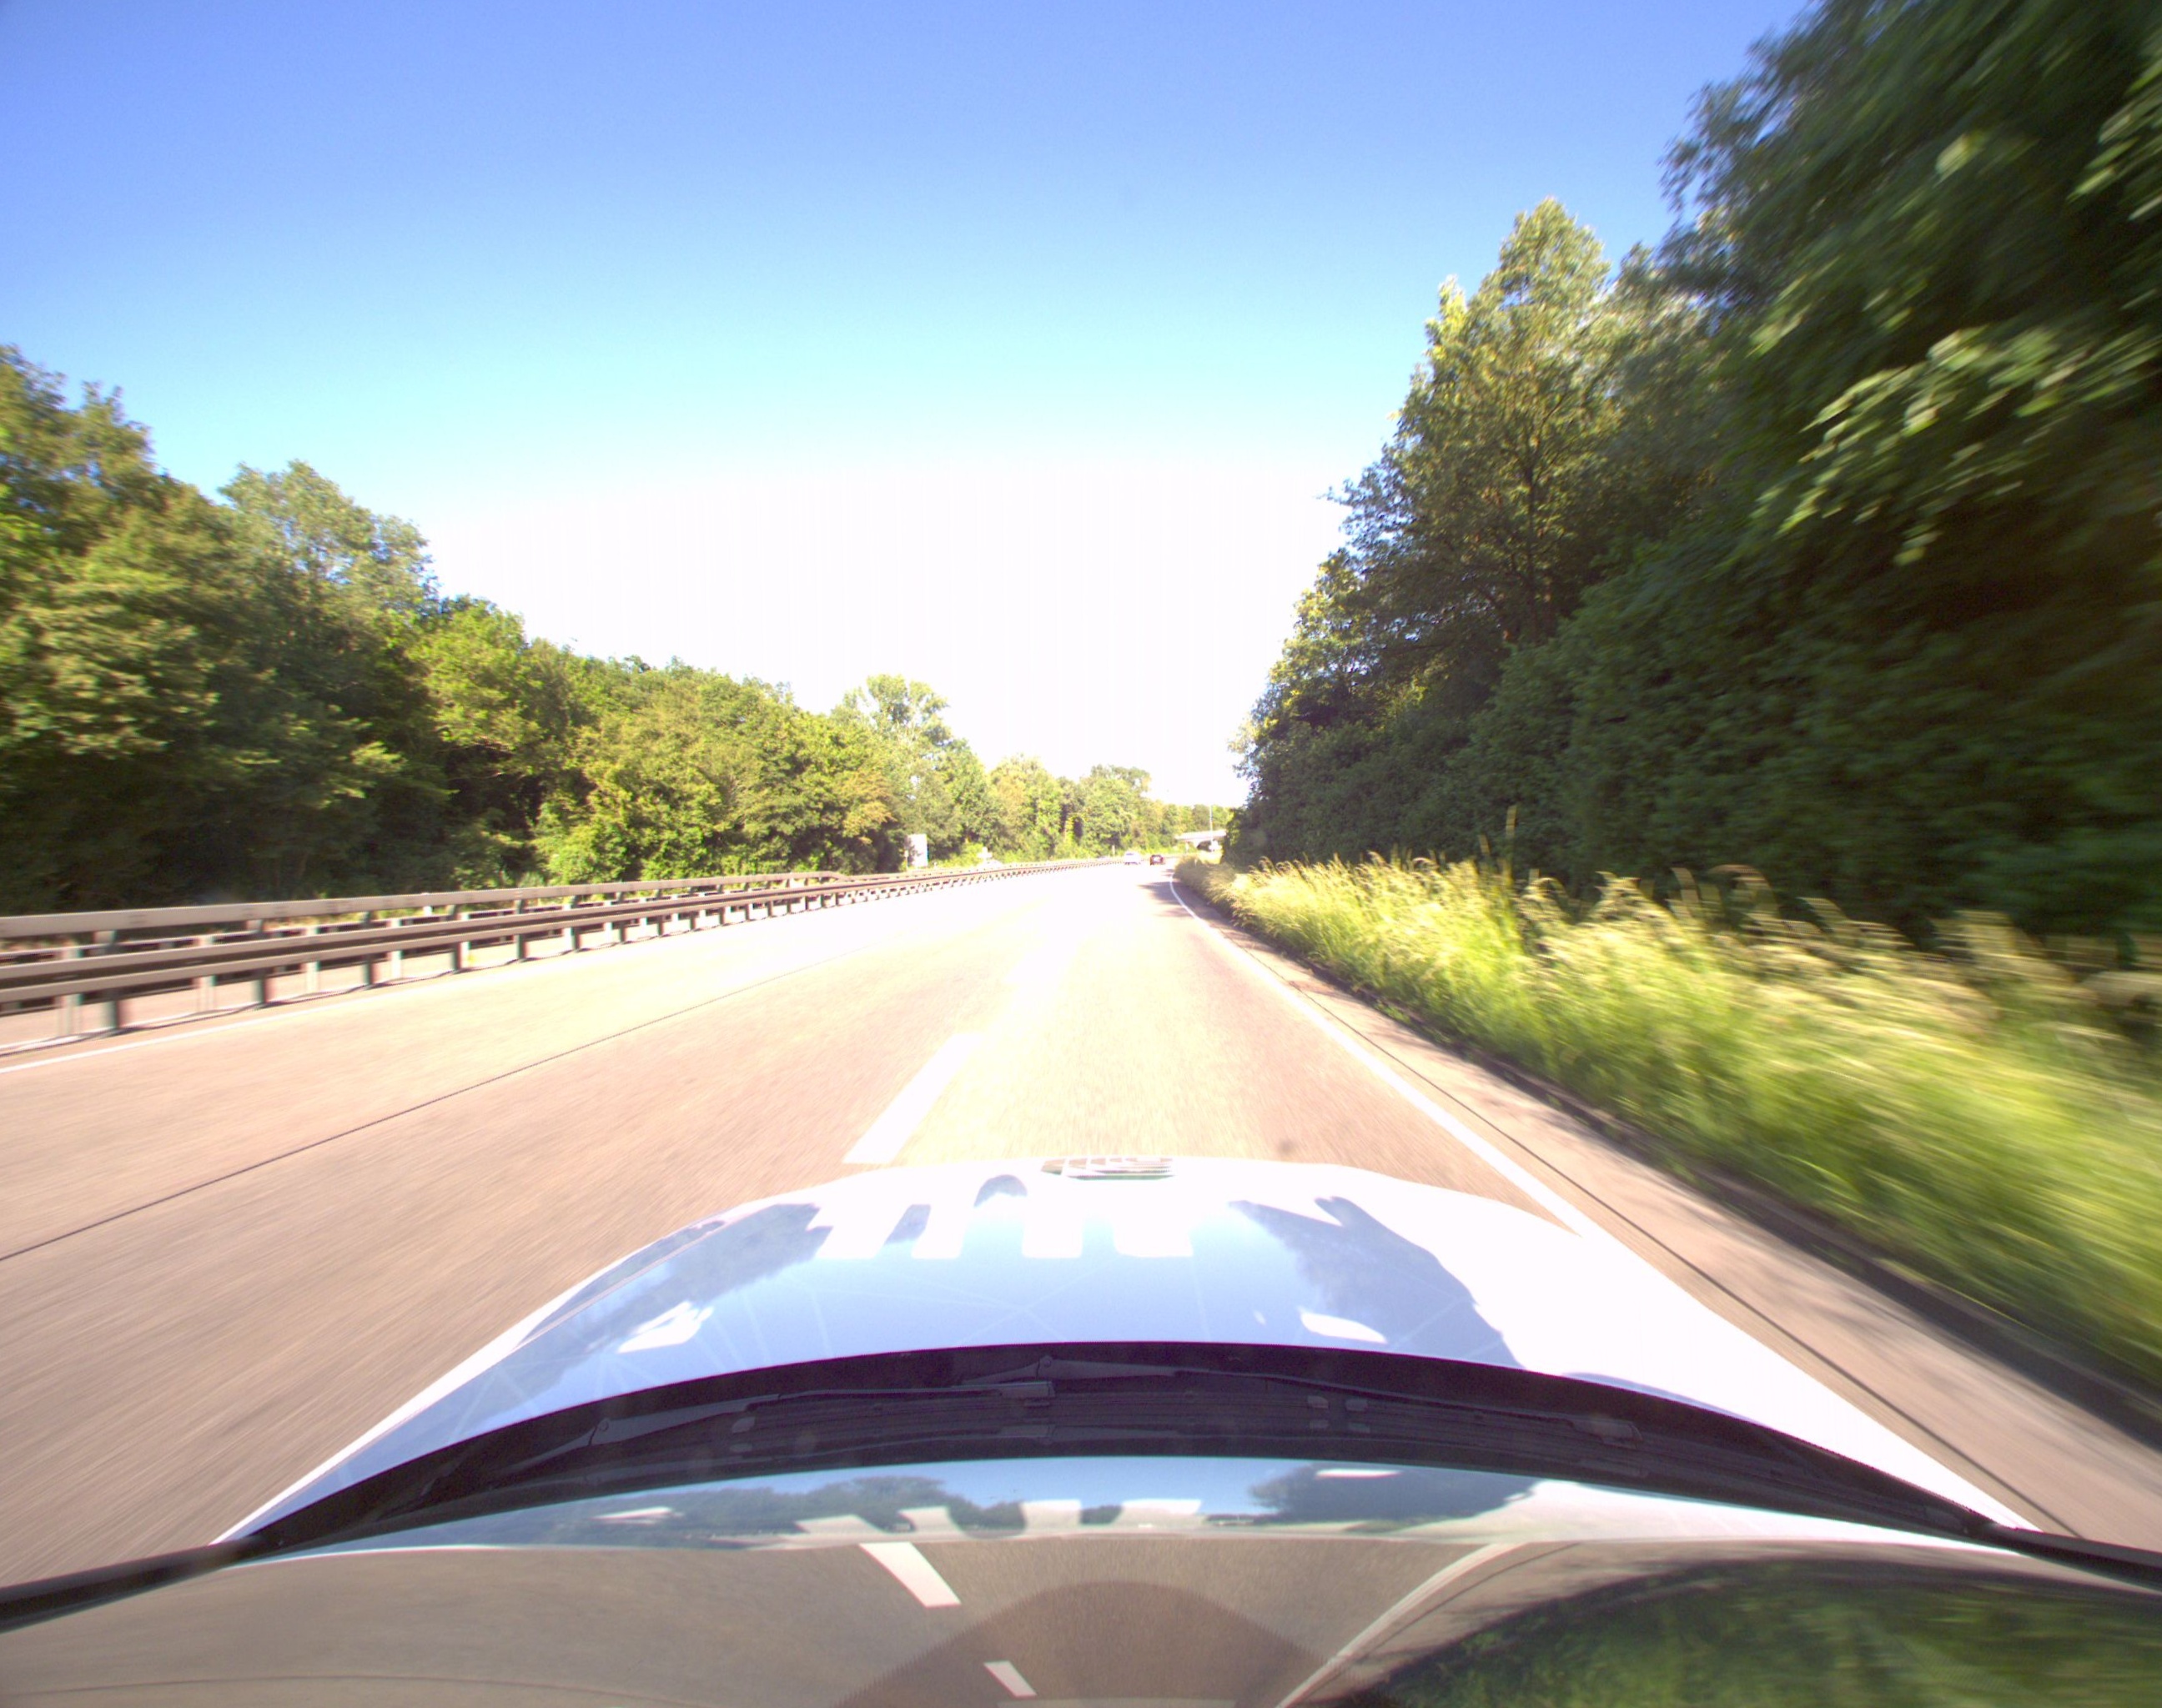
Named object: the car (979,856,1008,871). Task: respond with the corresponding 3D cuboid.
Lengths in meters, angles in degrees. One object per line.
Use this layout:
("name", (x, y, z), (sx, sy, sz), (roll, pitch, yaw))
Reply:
("car", (-12.506, 1.365, 116.539), (1.975, 2.014, 4.656), (-2, -1, 27))

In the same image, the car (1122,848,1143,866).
("car", (7.013, 0.357, 110.280), (1.979, 2.277, 4.015), (-2, 0, 14))

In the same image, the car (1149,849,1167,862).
("car", (10.171, 0.217, 107.477), (1.727, 1.662, 3.960), (-2, 0, 14))
